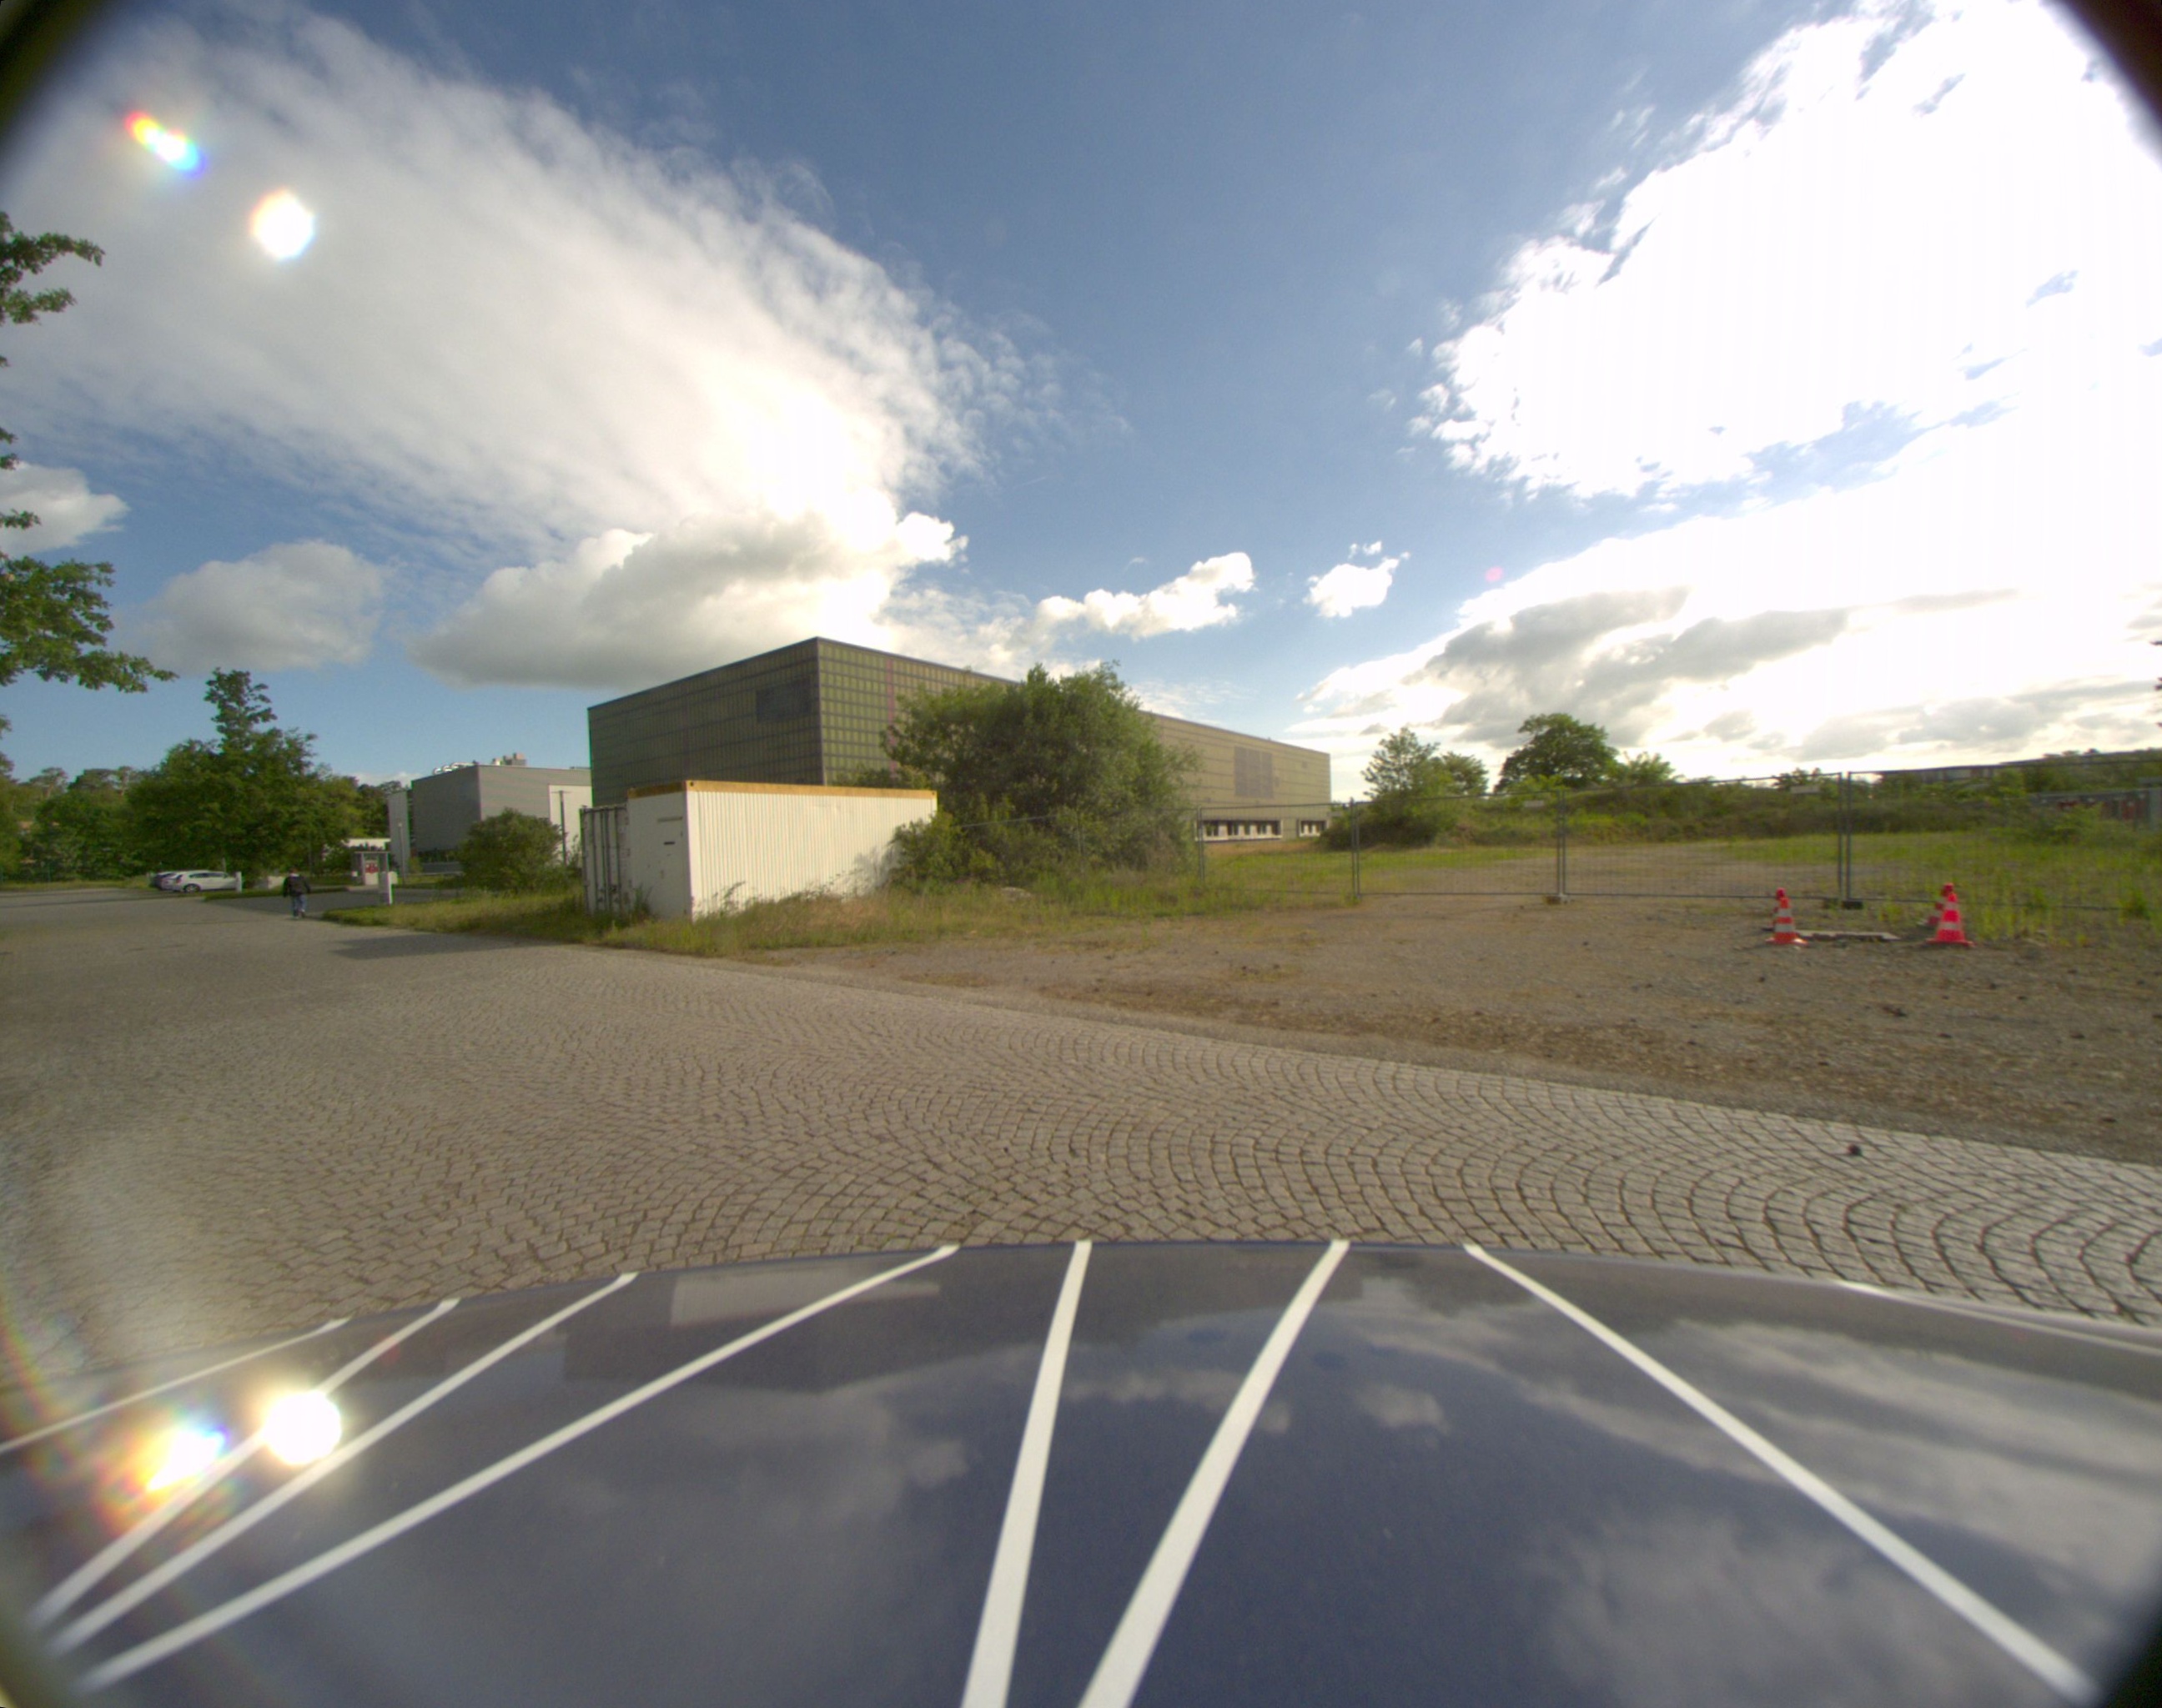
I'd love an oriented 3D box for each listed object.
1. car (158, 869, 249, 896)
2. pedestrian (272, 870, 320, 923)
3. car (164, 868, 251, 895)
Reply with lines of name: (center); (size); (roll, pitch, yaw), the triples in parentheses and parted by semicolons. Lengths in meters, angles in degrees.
car: (-61.030, 1.941, 52.925); (1.994, 1.633, 4.007); (-1, 2, 41)
pedestrian: (-24.659, 1.317, 23.861); (1.025, 1.550, 0.869); (-1, 2, 38)
car: (-62.931, 1.952, 54.810); (1.994, 1.633, 4.007); (-1, 2, 41)
